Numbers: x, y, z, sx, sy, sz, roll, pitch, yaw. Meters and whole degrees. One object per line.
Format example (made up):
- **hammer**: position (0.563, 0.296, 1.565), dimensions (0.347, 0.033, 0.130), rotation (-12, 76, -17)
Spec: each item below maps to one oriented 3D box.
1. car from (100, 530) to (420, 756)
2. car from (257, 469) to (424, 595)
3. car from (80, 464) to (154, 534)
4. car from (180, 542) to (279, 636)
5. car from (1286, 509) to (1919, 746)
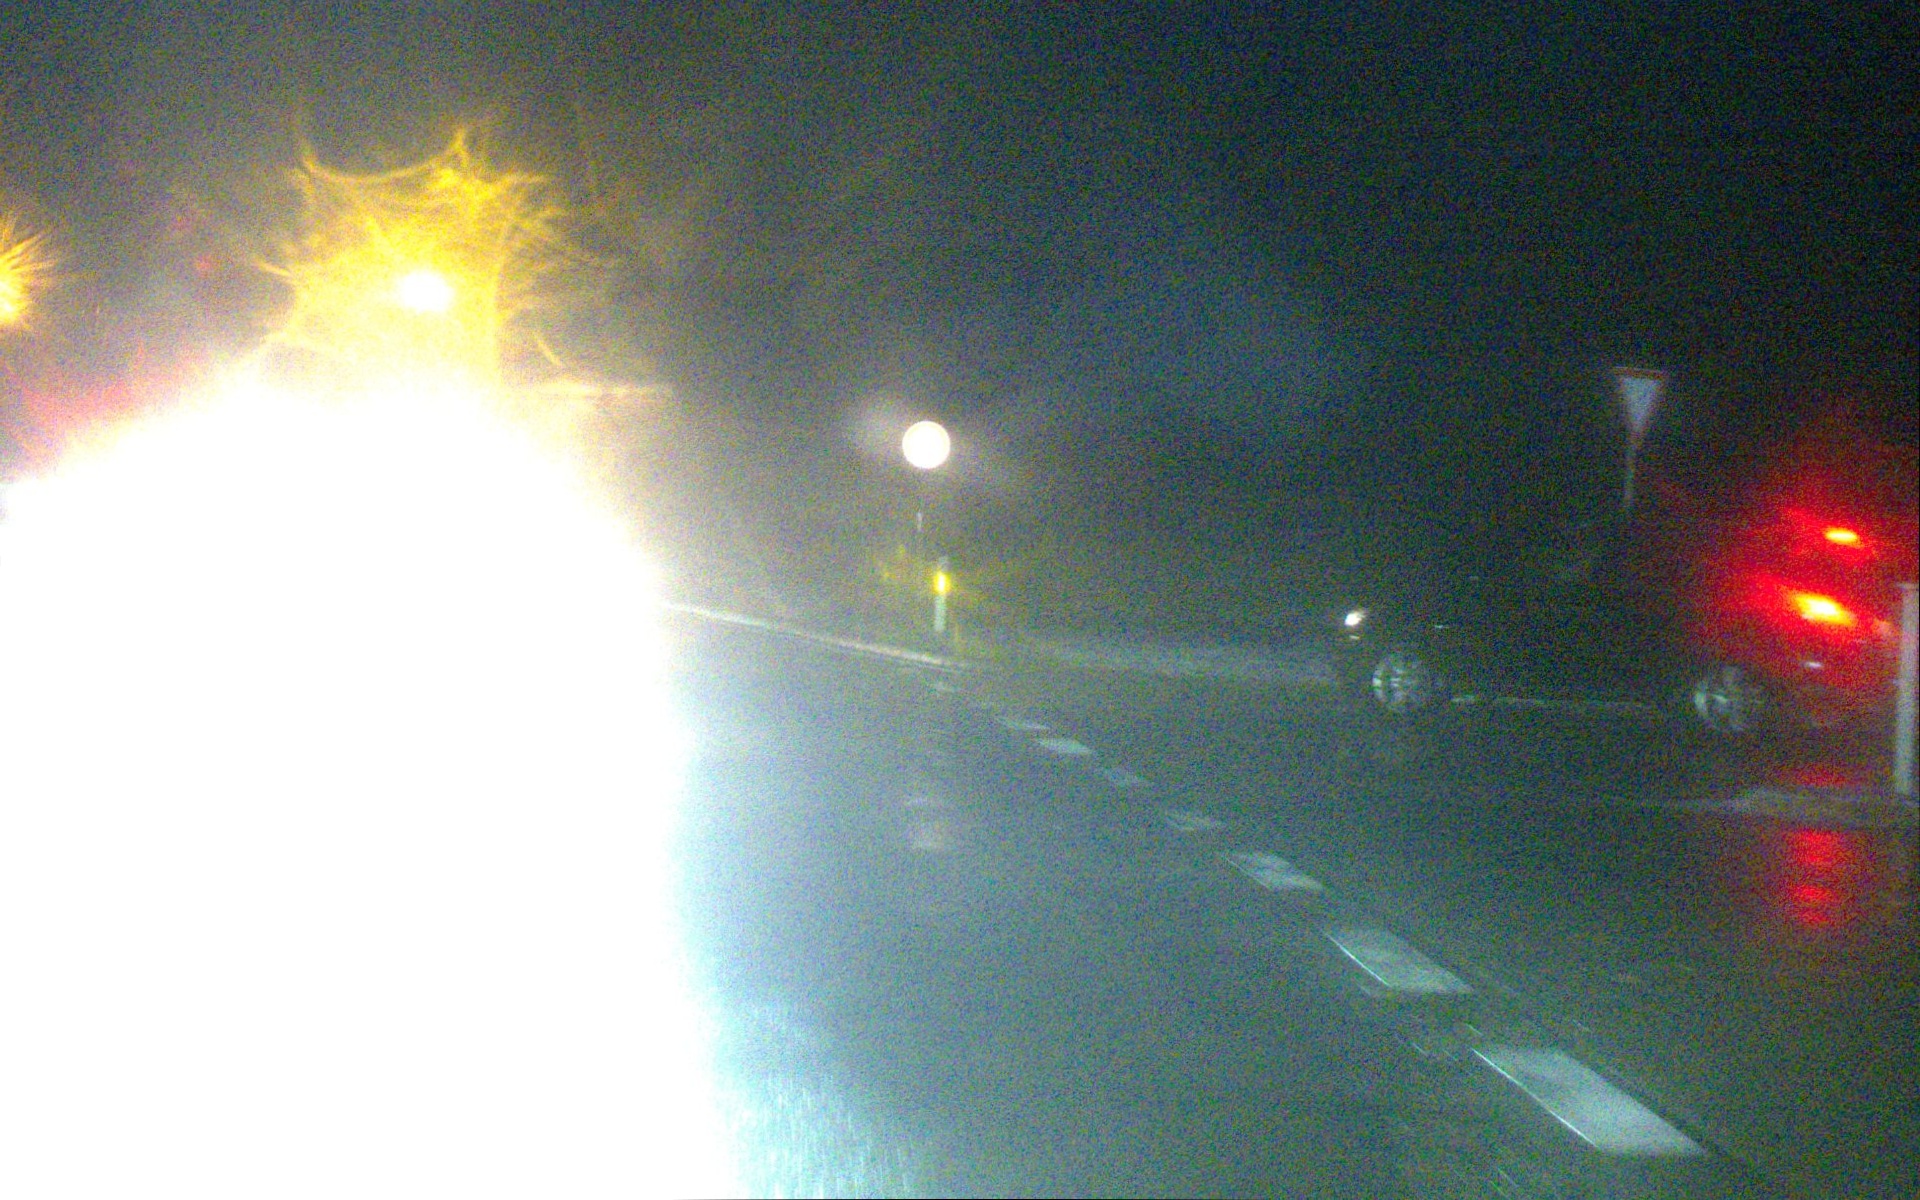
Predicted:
- **car**: position (-5.170, 0.289, 25.914), dimensions (1.955, 1.517, 4.400), rotation (1, 0, -7)
- **car**: position (-13.972, -1.581, 77.251), dimensions (2.538, 2.489, 5.717), rotation (-1, 4, -22)
- **car**: position (-25.931, -3.082, 105.801), dimensions (1.993, 2.007, 4.001), rotation (1, 0, -11)
- **car**: position (-13.223, -0.224, 62.301), dimensions (1.695, 1.594, 3.802), rotation (0, 2, -12)
- **car**: position (5.124, 0.171, 27.076), dimensions (4.770, 1.685, 1.956), rotation (2, 0, 39)
